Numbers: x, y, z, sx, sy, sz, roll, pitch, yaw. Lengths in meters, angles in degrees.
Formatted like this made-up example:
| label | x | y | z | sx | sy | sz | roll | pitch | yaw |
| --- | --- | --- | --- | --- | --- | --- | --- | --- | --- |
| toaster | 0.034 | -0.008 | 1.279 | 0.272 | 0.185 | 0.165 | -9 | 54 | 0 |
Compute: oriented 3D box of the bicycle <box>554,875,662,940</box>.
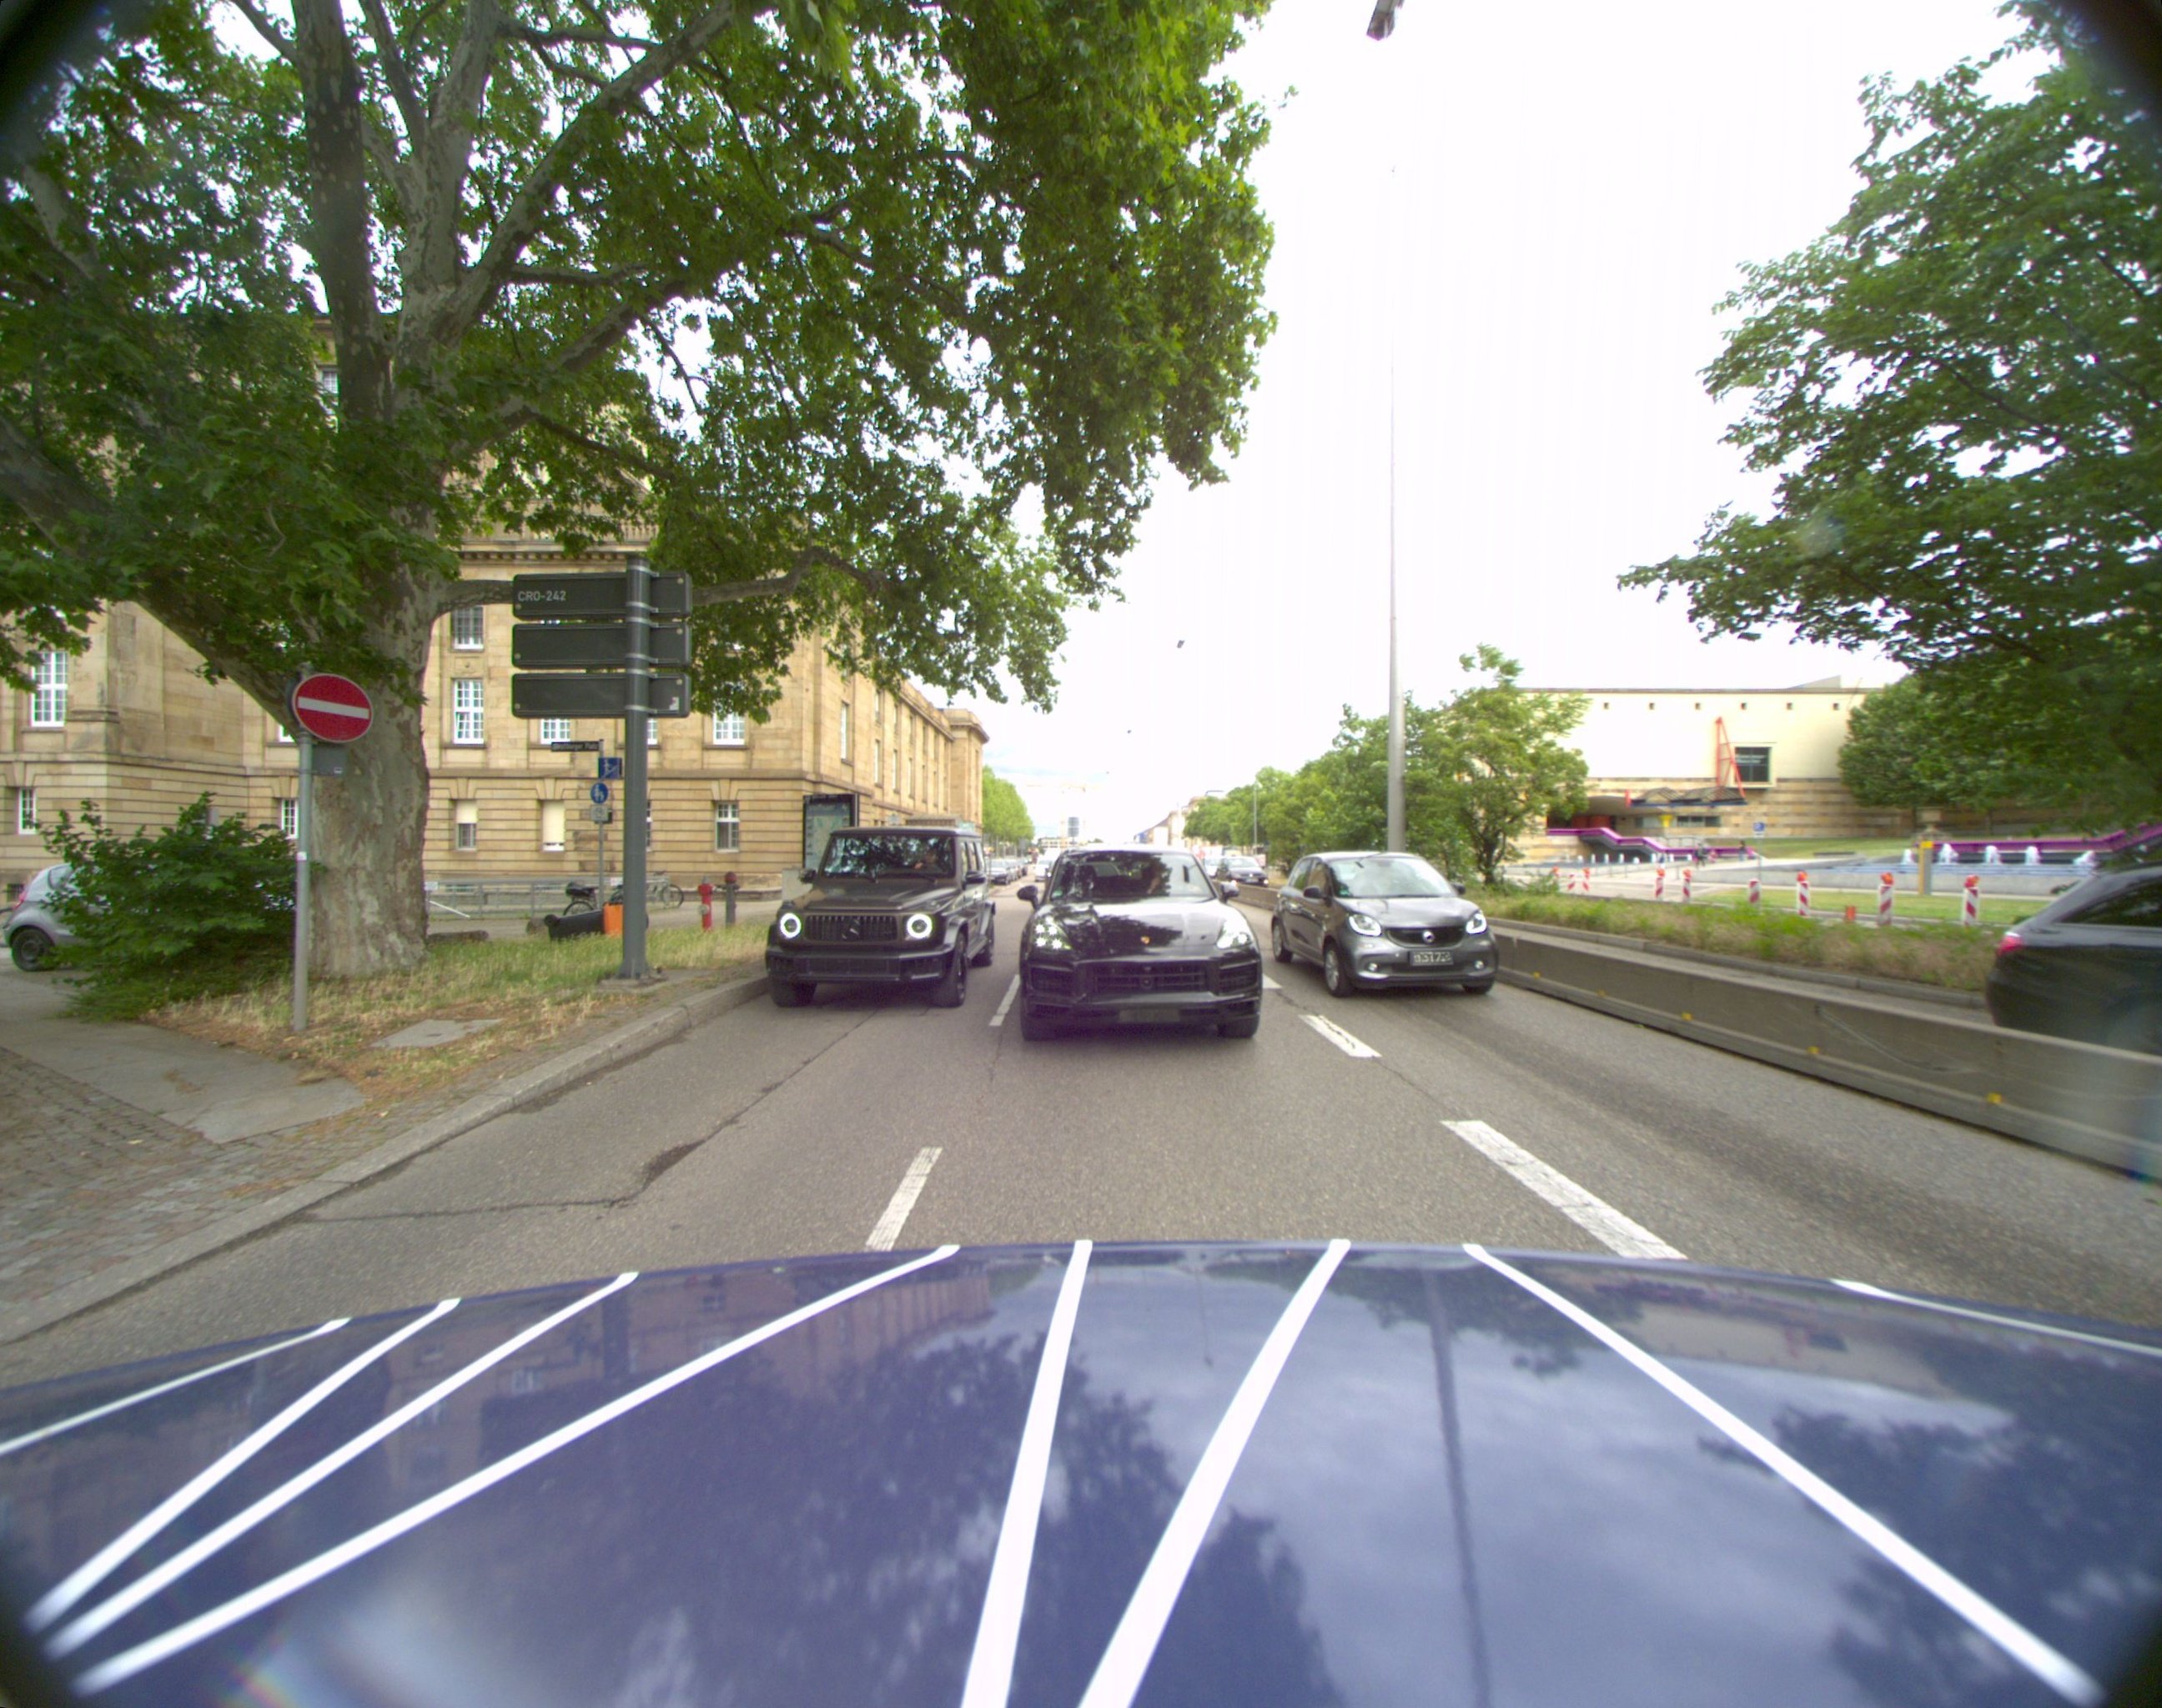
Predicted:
| label | x | y | z | sx | sy | sz | roll | pitch | yaw |
| --- | --- | --- | --- | --- | --- | --- | --- | --- | --- |
| bicycle | -9.022 | 1.013 | 14.521 | 1.789 | 1.214 | 0.492 | 0 | 1 | 4 |

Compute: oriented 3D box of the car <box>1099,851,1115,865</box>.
| label | x | y | z | sx | sy | sz | roll | pitch | yaw |
| --- | --- | --- | --- | --- | --- | --- | --- | --- | --- |
| car | 3.400 | 0.538 | 100.690 | 1.843 | 1.751 | 4.479 | 0 | 0 | -2 |

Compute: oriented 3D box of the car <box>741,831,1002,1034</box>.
| label | x | y | z | sx | sy | sz | roll | pitch | yaw |
| --- | --- | --- | --- | --- | --- | --- | --- | --- | --- |
| car | -2.207 | 0.747 | 9.395 | 1.952 | 1.914 | 4.399 | 0 | 0 | 1 |

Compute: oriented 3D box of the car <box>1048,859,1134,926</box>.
| label | x | y | z | sx | sy | sz | roll | pitch | yaw |
| --- | --- | --- | --- | --- | --- | --- | --- | --- | --- |
| car | 0.227 | 0.883 | 19.123 | 1.930 | 1.501 | 4.000 | 0 | 0 | 0 |

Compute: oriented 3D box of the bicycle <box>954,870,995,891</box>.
| label | x | y | z | sx | sy | sz | roll | pitch | yaw |
| --- | --- | --- | --- | --- | --- | --- | --- | --- | --- |
| bicycle | -4.798 | 1.194 | 34.318 | 1.730 | 0.912 | 0.614 | 0 | 1 | 19 |

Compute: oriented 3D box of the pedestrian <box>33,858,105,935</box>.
| label | x | y | z | sx | sy | sz | roll | pitch | yaw |
| --- | --- | --- | --- | --- | --- | --- | --- | --- | --- |
| pedestrian | -23.080 | 0.951 | 17.344 | 0.681 | 1.712 | 0.704 | 0 | 0 | -1 |

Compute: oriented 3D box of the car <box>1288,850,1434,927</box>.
| label | x | y | z | sx | sy | sz | roll | pitch | yaw |
| --- | --- | --- | --- | --- | --- | --- | --- | --- | --- |
| car | 6.716 | 0.729 | 18.894 | 1.928 | 1.626 | 4.937 | -1 | 0 | 2 |

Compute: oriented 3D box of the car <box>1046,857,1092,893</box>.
| label | x | y | z | sx | sy | sz | roll | pitch | yaw |
| --- | --- | --- | --- | --- | --- | --- | --- | --- | --- |
| car | -0.593 | 0.898 | 34.563 | 1.931 | 1.501 | 3.999 | 0 | 0 | -3 |

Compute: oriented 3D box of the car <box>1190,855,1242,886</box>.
| label | x | y | z | sx | sy | sz | roll | pitch | yaw |
| --- | --- | --- | --- | --- | --- | --- | --- | --- | --- |
| car | 6.903 | 0.807 | 39.123 | 1.677 | 1.498 | 3.852 | -1 | 0 | -5 |

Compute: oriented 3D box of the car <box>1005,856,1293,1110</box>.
| label | x | y | z | sx | sy | sz | roll | pitch | yaw |
| --- | --- | --- | --- | --- | --- | --- | --- | --- | --- |
| car | 0.266 | 0.854 | 7.168 | 1.909 | 1.648 | 4.198 | 0 | 0 | -6 |

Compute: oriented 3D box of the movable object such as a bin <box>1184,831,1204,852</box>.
| label | x | y | z | sx | sy | sz | roll | pitch | yaw |
| --- | --- | --- | --- | --- | --- | --- | --- | --- | --- |
| movable object such as a bin | 12.323 | -1.341 | 83.012 | 1.526 | 2.172 | 3.291 | 0 | 0 | -4 |

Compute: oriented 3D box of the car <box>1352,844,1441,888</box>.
| label | x | y | z | sx | sy | sz | roll | pitch | yaw |
| --- | --- | --- | --- | --- | --- | --- | --- | --- | --- |
| car | 15.242 | 0.550 | 37.121 | 2.121 | 1.958 | 5.578 | 0 | 0 | 1 |

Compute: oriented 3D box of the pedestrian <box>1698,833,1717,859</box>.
| label | x | y | z | sx | sy | sz | roll | pitch | yaw |
| --- | --- | --- | --- | --- | --- | --- | --- | --- | --- |
| pedestrian | 45.431 | -0.601 | 55.107 | 0.693 | 1.842 | 0.804 | -2 | 1 | 1 |

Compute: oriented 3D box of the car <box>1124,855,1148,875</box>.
| label | x | y | z | sx | sy | sz | roll | pitch | yaw |
| --- | --- | --- | --- | --- | --- | --- | --- | --- | --- |
| car | 4.738 | 0.916 | 65.664 | 1.730 | 1.611 | 3.944 | -1 | 1 | 0 |

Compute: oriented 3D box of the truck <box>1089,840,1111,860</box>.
| label | x | y | z | sx | sy | sz | roll | pitch | yaw |
| --- | --- | --- | --- | --- | --- | --- | --- | --- | --- |
| truck | 2.648 | -0.499 | 108.828 | 2.978 | 2.757 | 7.254 | 0 | 0 | 0 |

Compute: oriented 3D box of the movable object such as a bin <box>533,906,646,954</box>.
| label | x | y | z | sx | sy | sz | roll | pitch | yaw |
| --- | --- | --- | --- | --- | --- | --- | --- | --- | --- |
| movable object such as a bin | -7.698 | 1.185 | 11.928 | 1.301 | 0.648 | 0.729 | -2 | 1 | 9 |

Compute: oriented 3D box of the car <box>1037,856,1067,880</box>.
| label | x | y | z | sx | sy | sz | roll | pitch | yaw |
| --- | --- | --- | --- | --- | --- | --- | --- | --- | --- |
| car | -1.958 | 0.907 | 51.237 | 1.930 | 1.501 | 3.999 | 0 | 0 | -2 |

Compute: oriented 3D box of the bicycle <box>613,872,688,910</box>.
| label | x | y | z | sx | sy | sz | roll | pitch | yaw |
| --- | --- | --- | --- | --- | --- | --- | --- | --- | --- |
| bicycle | -12.918 | 1.114 | 22.829 | 2.016 | 1.119 | 0.389 | 0 | 1 | 0 |

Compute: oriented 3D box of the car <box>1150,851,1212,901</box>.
| label | x | y | z | sx | sy | sz | roll | pitch | yaw |
| --- | --- | --- | --- | --- | --- | --- | --- | --- | --- |
| car | 3.542 | 0.716 | 27.501 | 1.690 | 1.646 | 3.999 | -1 | 1 | -1 |

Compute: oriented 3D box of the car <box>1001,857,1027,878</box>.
| label | x | y | z | sx | sy | sz | roll | pitch | yaw |
| --- | --- | --- | --- | --- | --- | --- | --- | --- | --- |
| car | -4.996 | 0.965 | 56.984 | 1.620 | 1.446 | 3.858 | 1 | 0 | 0 |

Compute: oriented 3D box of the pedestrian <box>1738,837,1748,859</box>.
| label | x | y | z | sx | sy | sz | roll | pitch | yaw |
| --- | --- | --- | --- | --- | --- | --- | --- | --- | --- |
| pedestrian | 48.640 | -0.447 | 55.790 | 0.348 | 1.602 | 0.405 | -2 | 1 | 1 |

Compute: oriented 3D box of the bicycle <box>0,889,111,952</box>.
| label | x | y | z | sx | sy | sz | roll | pitch | yaw |
| --- | --- | --- | --- | --- | --- | --- | --- | --- | --- |
| bicycle | -19.679 | 1.252 | 14.417 | 1.755 | 1.125 | 0.443 | 0 | 0 | -7 |

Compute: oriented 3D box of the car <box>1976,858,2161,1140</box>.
| label | x | y | z | sx | sy | sz | roll | pitch | yaw |
| --- | --- | --- | --- | --- | --- | --- | --- | --- | --- |
| car | 6.695 | 0.793 | 2.533 | 1.821 | 1.490 | 4.768 | 0 | 0 | 0 |

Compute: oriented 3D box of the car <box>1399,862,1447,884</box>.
| label | x | y | z | sx | sy | sz | roll | pitch | yaw |
| --- | --- | --- | --- | --- | --- | --- | --- | --- | --- |
| car | 25.268 | 1.357 | 56.249 | 1.649 | 1.518 | 4.523 | 0 | 0 | 2 |

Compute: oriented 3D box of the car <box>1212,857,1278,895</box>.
| label | x | y | z | sx | sy | sz | roll | pitch | yaw |
| --- | --- | --- | --- | --- | --- | --- | --- | --- | --- |
| car | 6.925 | 0.883 | 32.480 | 1.664 | 1.445 | 4.196 | -1 | 0 | -4 |

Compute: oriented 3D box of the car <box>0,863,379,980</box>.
| label | x | y | z | sx | sy | sz | roll | pitch | yaw |
| --- | --- | --- | --- | --- | --- | --- | --- | --- | --- |
| car | -13.148 | 0.945 | 11.305 | 3.845 | 1.559 | 1.679 | 0 | 0 | 1 |

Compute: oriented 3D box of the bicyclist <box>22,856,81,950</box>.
| label | x | y | z | sx | sy | sz | roll | pitch | yaw |
| --- | --- | --- | --- | --- | --- | --- | --- | --- | --- |
| bicyclist | -19.374 | 0.915 | 14.303 | 0.437 | 1.738 | 0.475 | 0 | 0 | -7 |

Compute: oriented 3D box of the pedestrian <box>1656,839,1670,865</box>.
| label | x | y | z | sx | sy | sz | roll | pitch | yaw |
| --- | --- | --- | --- | --- | --- | --- | --- | --- | --- |
| pedestrian | 42.028 | -0.172 | 54.861 | 0.692 | 1.842 | 0.805 | -1 | 1 | 43 |

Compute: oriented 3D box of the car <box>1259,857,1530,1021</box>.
| label | x | y | z | sx | sy | sz | roll | pitch | yaw |
| --- | --- | --- | --- | --- | --- | --- | --- | --- | --- |
| car | 3.447 | 0.819 | 9.215 | 1.690 | 1.496 | 4.000 | -1 | 1 | 1 |
